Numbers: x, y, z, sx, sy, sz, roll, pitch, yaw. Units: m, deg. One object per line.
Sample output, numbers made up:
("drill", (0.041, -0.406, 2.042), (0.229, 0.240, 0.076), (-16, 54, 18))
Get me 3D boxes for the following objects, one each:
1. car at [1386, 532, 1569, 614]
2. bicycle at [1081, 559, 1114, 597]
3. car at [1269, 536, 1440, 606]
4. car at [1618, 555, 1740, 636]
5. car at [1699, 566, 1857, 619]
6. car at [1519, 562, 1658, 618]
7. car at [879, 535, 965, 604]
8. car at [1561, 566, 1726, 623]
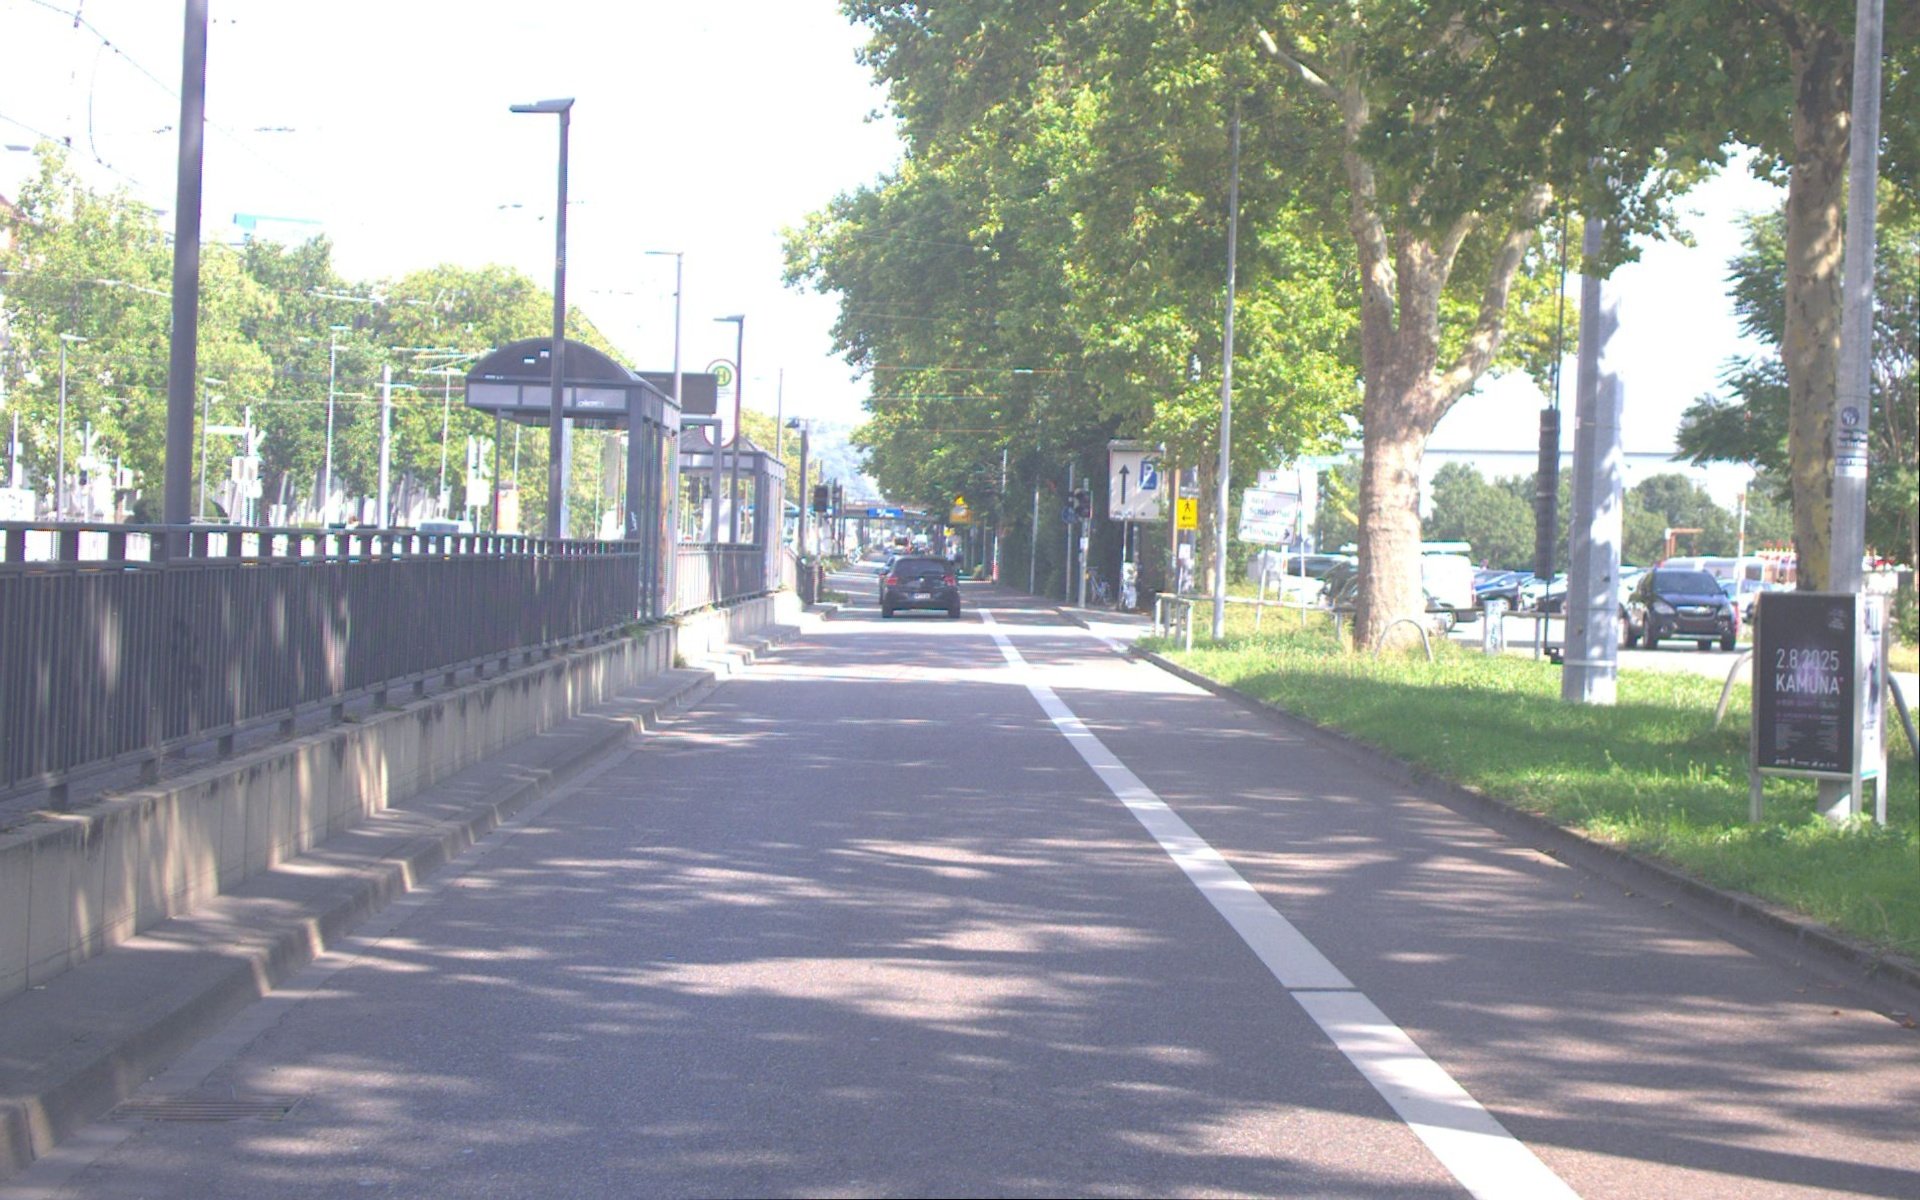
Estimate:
("car", (12.292, -0.649, 81.844), (4.103, 1.912, 1.847), (1, 1, 2))
("bicycle", (3.890, -0.635, 97.317), (0.610, 1.018, 2.403), (2, 1, -5))
("car", (9.952, -0.742, 86.978), (3.986, 1.581, 2.000), (2, 1, -1))
("car", (14.568, -0.117, 69.783), (1.607, 1.570, 3.797), (1, 1, -1))
("car", (25.444, -0.239, 106.983), (4.343, 1.459, 1.948), (3, 0, -2))
("car", (21.675, -0.353, 118.682), (4.343, 1.707, 1.948), (3, 0, -2))
("car", (-0.893, -0.709, 78.714), (1.907, 1.532, 4.000), (0, 1, -2))
("car", (19.962, -0.162, 100.555), (4.343, 1.459, 1.948), (3, 0, -2))
